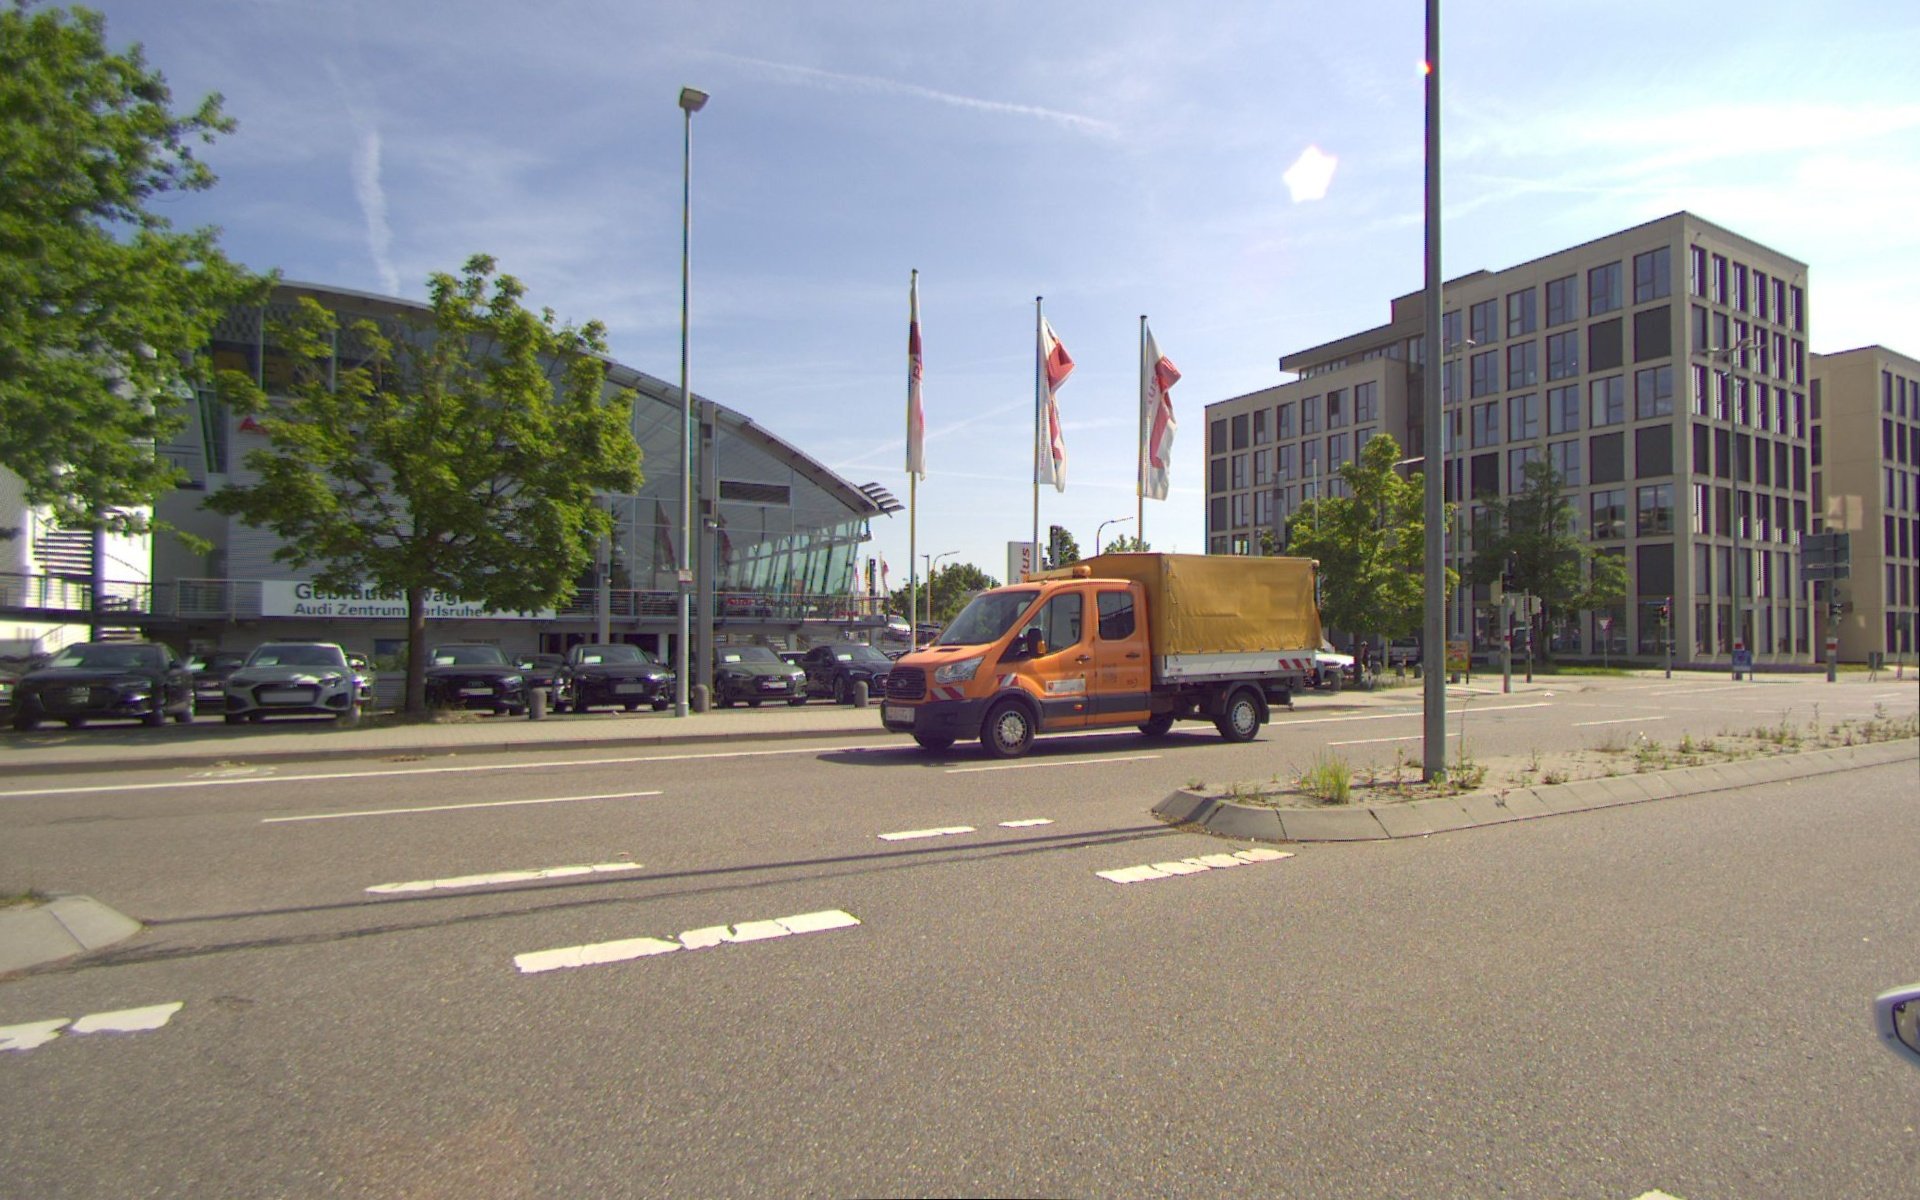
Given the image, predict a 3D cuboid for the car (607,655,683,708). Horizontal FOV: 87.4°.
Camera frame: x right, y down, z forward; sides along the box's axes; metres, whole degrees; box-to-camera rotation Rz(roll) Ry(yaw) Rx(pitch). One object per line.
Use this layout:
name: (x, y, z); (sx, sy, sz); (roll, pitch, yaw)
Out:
car: (-9.905, 2.511, 31.467); (1.506, 1.492, 3.490); (1, -2, -31)

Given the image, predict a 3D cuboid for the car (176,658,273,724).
car: (-19.150, 2.314, 26.293); (1.671, 1.492, 3.798); (1, -2, -31)

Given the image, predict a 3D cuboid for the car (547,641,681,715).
car: (-7.294, 1.629, 20.946); (1.809, 1.372, 4.260); (1, -5, -31)

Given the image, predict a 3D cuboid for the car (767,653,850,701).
car: (-5.204, 2.580, 34.292); (1.647, 1.492, 3.491); (1, -2, -30)

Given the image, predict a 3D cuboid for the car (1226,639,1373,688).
car: (10.697, 1.975, 31.944); (1.876, 1.451, 4.356); (1, -3, -28)

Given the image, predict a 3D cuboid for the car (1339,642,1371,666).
car: (26.289, 3.571, 66.959); (1.772, 1.533, 4.001); (-1, -2, 19)

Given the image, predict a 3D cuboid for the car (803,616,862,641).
car: (-10.937, 2.483, 86.486); (4.698, 2.040, 1.983); (1, -3, -32)

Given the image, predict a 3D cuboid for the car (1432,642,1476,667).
car: (30.005, 3.300, 61.116); (1.772, 1.434, 4.032); (-1, -2, 18)

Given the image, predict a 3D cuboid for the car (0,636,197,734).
car: (-14.148, 1.409, 16.753); (1.788, 1.420, 4.006); (1, -5, -31)

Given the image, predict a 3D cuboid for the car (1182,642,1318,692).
car: (8.708, 1.974, 30.448); (1.744, 1.421, 3.815); (1, -3, -31)

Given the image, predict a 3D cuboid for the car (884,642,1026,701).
car: (-0.212, 1.802, 25.073); (1.846, 1.336, 3.970); (1, -5, -30)

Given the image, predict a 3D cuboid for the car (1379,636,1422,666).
car: (28.129, 3.242, 64.276); (1.860, 1.845, 4.816); (-1, -2, 16)

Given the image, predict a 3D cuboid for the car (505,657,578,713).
car: (-12.514, 2.476, 29.956); (1.571, 1.492, 3.491); (1, -2, -30)

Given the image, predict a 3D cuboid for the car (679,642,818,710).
car: (-4.810, 1.693, 22.359); (1.833, 1.352, 4.157); (1, -5, -30)

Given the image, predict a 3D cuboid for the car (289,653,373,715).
car: (-17.148, 2.244, 27.514); (1.783, 1.492, 3.800); (1, -2, -30)

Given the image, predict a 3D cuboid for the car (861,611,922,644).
car: (-4.552, 1.790, 66.015); (2.066, 1.932, 4.508); (6, -4, -32)

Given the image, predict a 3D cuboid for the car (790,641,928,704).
car: (-2.459, 1.716, 23.581); (1.815, 1.336, 3.972); (1, -5, -29)

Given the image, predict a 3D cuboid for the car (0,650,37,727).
car: (-18.899, 1.588, 17.832); (3.762, 1.350, 1.691); (-1, -2, 8)

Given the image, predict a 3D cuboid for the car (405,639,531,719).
car: (-9.617, 1.536, 19.481); (1.815, 1.372, 4.091); (1, -5, -31)

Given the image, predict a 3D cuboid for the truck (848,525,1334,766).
truck: (1.956, 0.630, 13.804); (6.597, 2.659, 2.364); (1, -4, -32)

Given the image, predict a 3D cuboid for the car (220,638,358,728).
car: (-11.891, 1.485, 18.038); (1.781, 1.412, 4.197); (1, -5, -30)
